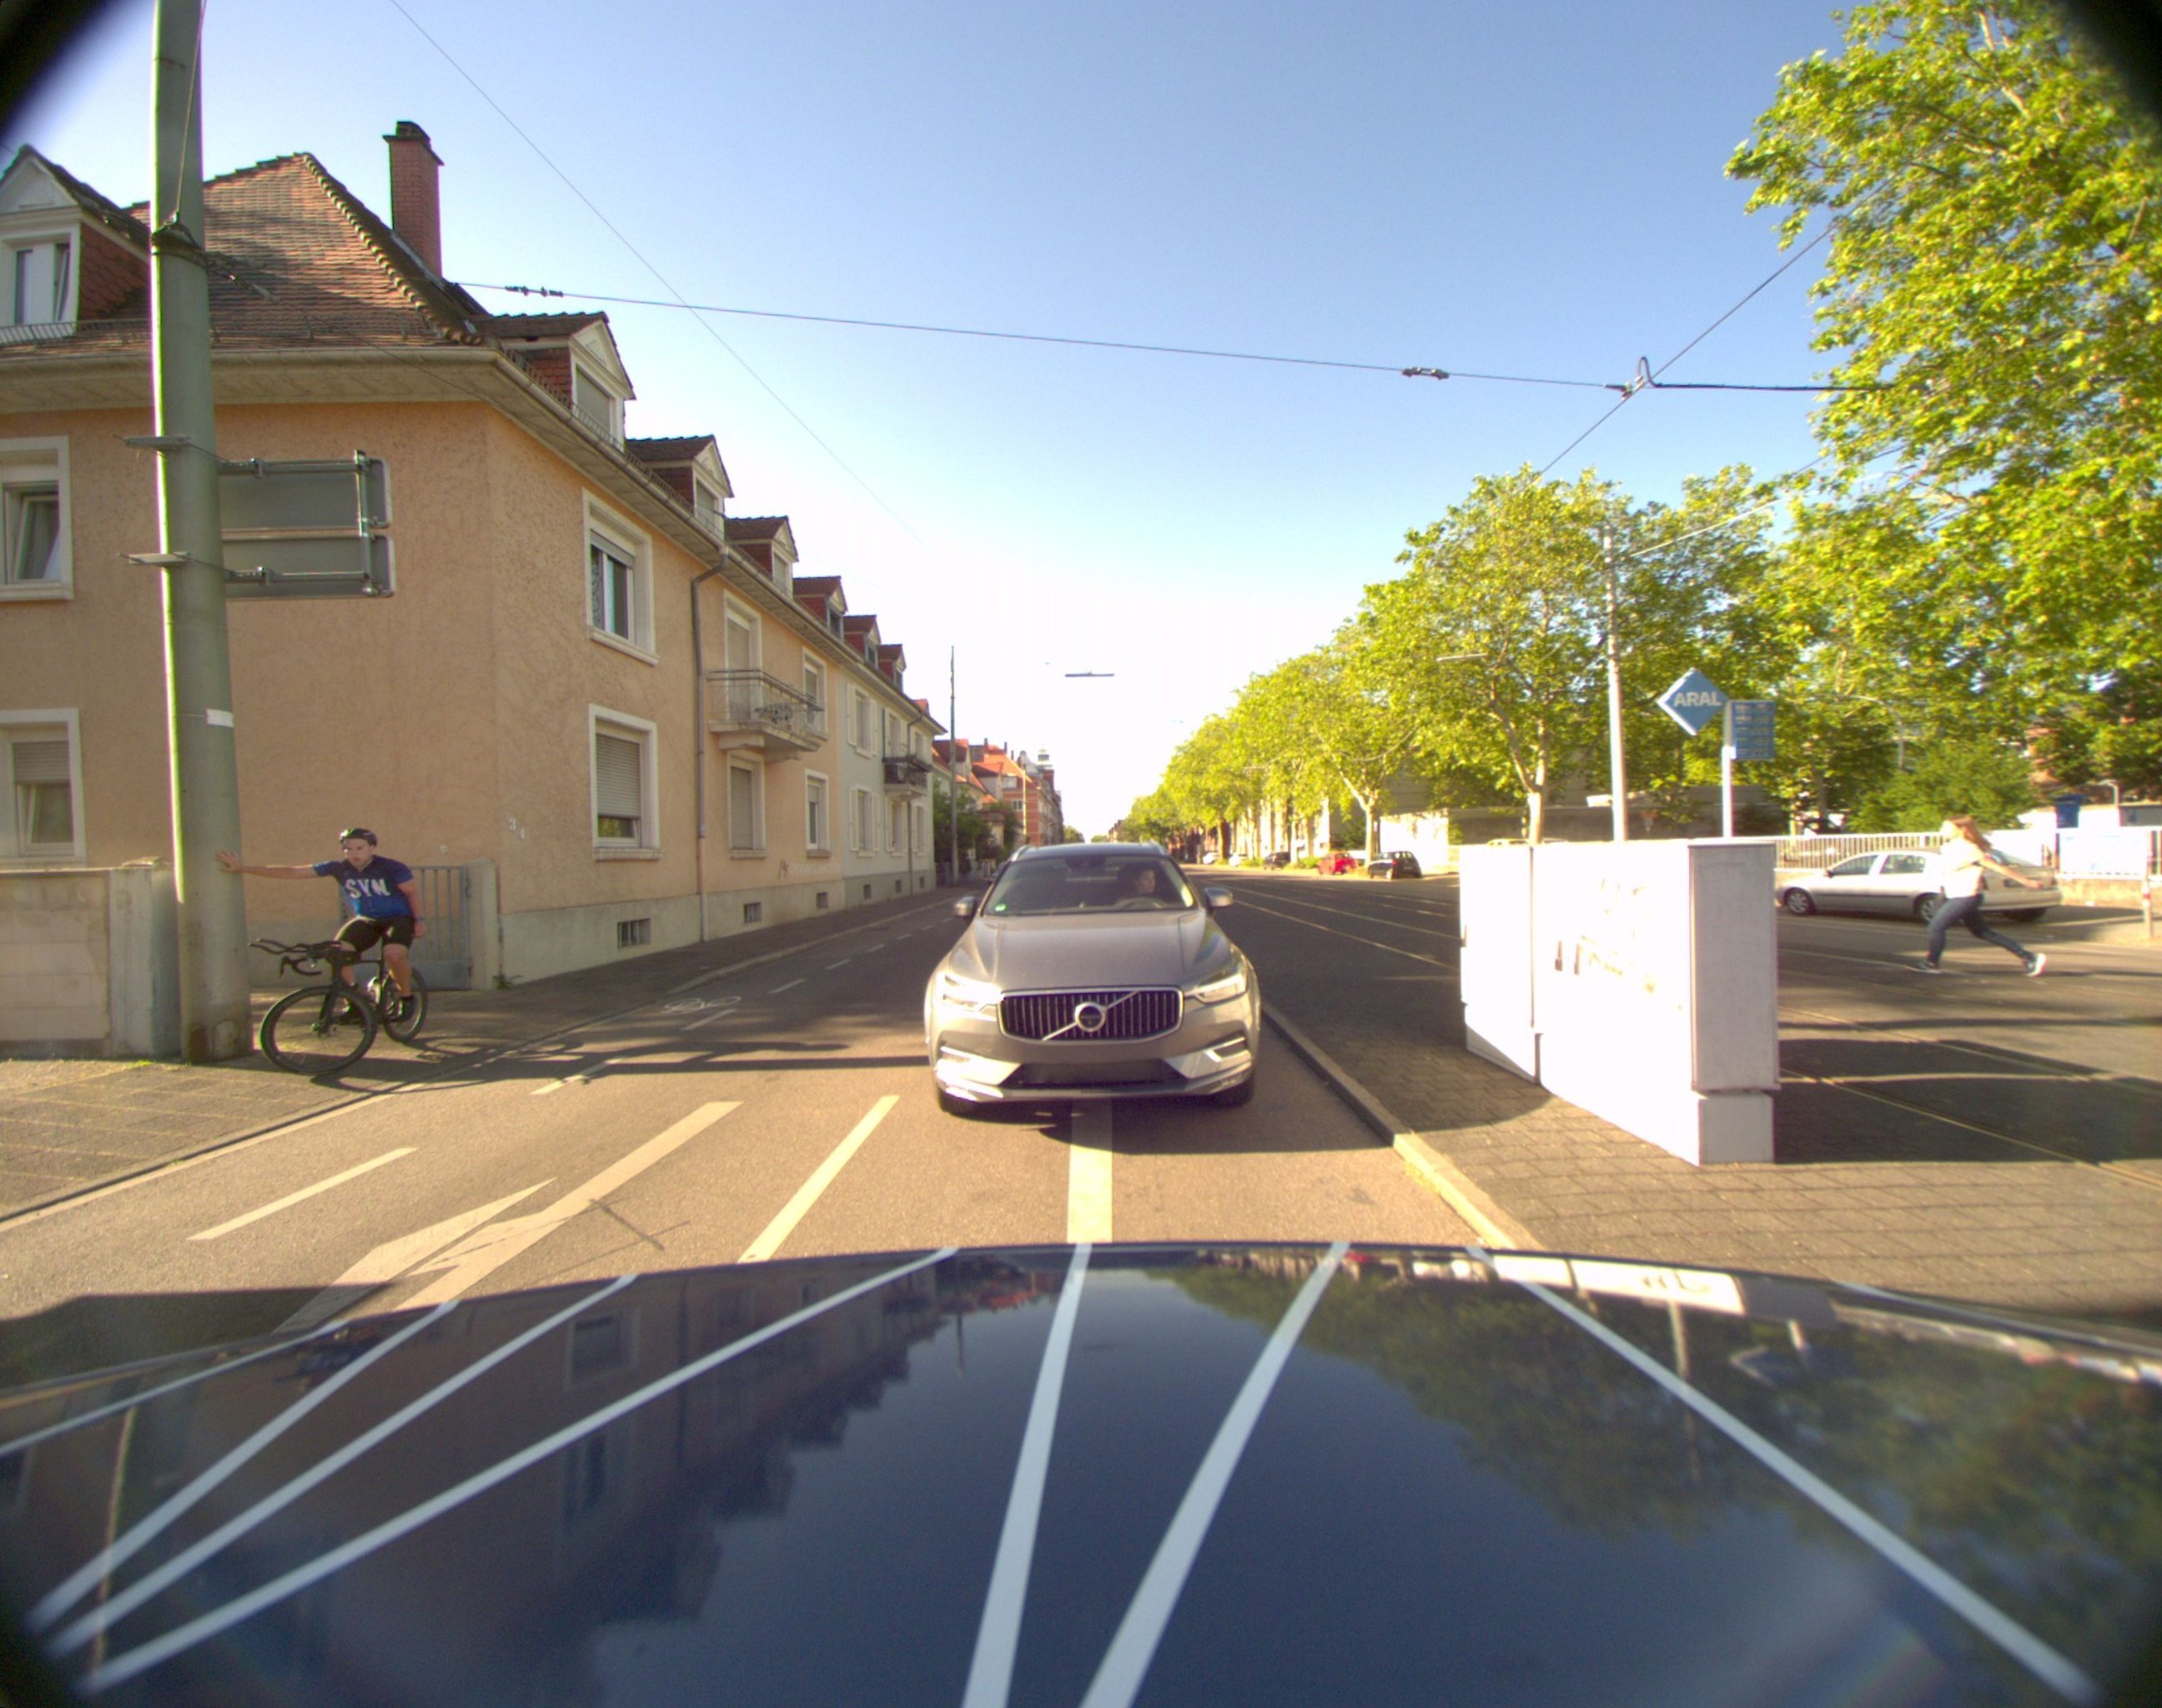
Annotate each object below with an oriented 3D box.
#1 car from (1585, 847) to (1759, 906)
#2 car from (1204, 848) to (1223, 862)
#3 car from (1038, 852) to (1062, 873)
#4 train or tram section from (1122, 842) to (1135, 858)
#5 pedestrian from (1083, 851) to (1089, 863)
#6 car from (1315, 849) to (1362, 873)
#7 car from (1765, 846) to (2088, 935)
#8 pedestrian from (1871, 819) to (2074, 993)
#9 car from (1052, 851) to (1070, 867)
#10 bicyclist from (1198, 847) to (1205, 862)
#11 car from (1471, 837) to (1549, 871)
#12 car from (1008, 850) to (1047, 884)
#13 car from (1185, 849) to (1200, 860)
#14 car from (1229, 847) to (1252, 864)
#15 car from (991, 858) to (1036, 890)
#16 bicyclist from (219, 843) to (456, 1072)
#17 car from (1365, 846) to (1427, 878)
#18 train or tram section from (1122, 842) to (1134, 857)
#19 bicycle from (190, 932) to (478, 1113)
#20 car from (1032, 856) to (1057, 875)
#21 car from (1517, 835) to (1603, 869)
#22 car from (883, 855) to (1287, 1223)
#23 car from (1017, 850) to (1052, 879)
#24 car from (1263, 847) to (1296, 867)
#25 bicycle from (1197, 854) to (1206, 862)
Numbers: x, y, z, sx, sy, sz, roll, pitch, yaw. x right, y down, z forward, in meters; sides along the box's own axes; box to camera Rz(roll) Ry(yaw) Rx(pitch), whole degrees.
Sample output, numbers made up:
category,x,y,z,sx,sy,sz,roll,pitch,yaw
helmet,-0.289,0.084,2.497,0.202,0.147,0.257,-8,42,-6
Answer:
category,x,y,z,sx,sy,sz,roll,pitch,yaw
car,16.519,0.566,21.545,1.845,1.400,4.138,-4,0,4
car,17.604,0.073,100.902,1.845,1.664,4.098,-4,0,3
car,-2.669,0.690,65.767,1.847,1.681,4.000,-1,0,0
train or tram section,11.065,-0.920,177.776,2.861,3.456,10.185,-2,0,4
pedestrian,0.863,0.438,130.423,1.104,2.002,1.242,-2,1,1
car,16.966,0.444,50.307,1.845,1.400,4.001,-4,0,3
car,16.237,0.616,14.973,1.846,1.400,3.999,-4,0,-1
pedestrian,8.805,0.491,7.565,1.104,1.610,0.717,-1,1,24
car,-2.236,0.545,85.481,1.999,1.641,4.658,-1,0,-1
bicyclist,15.434,0.039,97.446,0.720,1.853,1.071,-1,1,0
car,21.753,-0.028,38.710,1.845,1.524,4.001,-4,0,4
car,-2.919,0.680,42.397,1.847,1.742,4.144,-1,0,0
car,18.379,-0.011,125.405,1.845,1.664,4.098,-4,0,3
car,17.497,0.115,83.539,1.845,1.664,4.098,-4,0,3
car,-3.226,0.942,36.974,1.847,1.412,3.999,-1,0,-1
bicyclist,-6.171,0.806,6.371,1.071,1.728,0.853,4,1,1
car,16.970,0.407,41.082,1.845,1.524,4.001,-4,0,4
train or tram section,11.731,-1.058,187.922,2.842,3.456,10.184,-2,1,4
bicycle,-5.927,1.272,6.193,0.594,1.045,1.719,4,1,1
car,-2.874,0.855,60.403,1.808,1.402,3.999,-1,0,-1
car,24.046,-0.112,38.332,1.845,1.524,4.000,-4,0,2
car,0.001,0.886,5.784,1.892,1.695,4.318,-1,0,-1
car,-2.837,0.615,46.828,1.847,1.681,4.000,-1,0,0
car,17.174,0.222,65.891,1.845,1.607,4.098,-4,0,3
bicycle,15.440,0.506,97.412,0.654,1.114,2.533,-1,0,1
